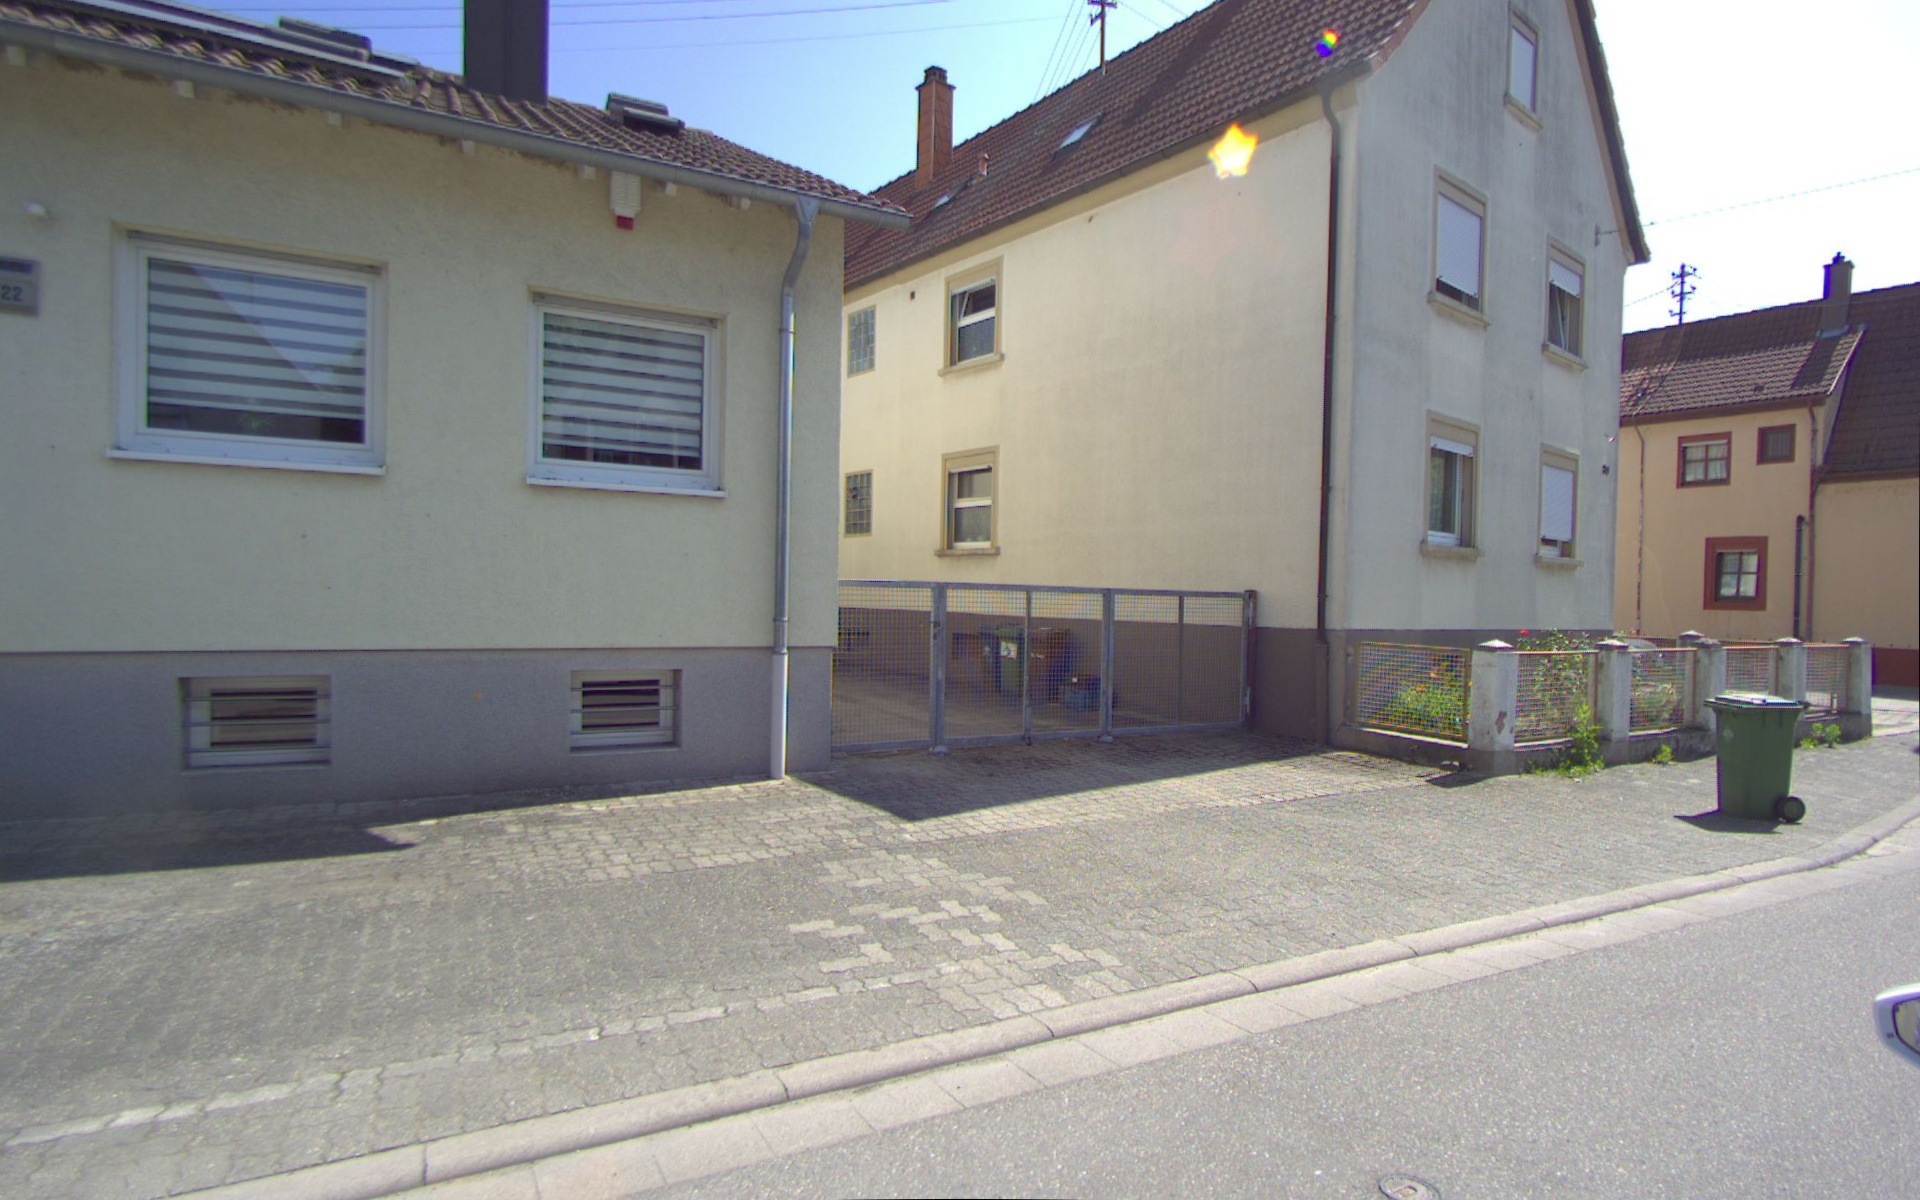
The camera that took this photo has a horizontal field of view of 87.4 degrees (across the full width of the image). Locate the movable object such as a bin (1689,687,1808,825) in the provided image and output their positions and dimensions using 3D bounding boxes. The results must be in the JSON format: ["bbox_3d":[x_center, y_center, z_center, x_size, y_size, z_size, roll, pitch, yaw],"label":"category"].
[{"bbox_3d":[6.180,1.200,7.881,0.547,0.962,0.536,1,1,-30],"label":"movable object such as a bin"}]

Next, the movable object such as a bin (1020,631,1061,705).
[{"bbox_3d":[1.037,0.867,12.945,0.369,0.928,0.348,1,2,-34],"label":"movable object such as a bin"}]

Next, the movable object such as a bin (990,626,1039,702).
[{"bbox_3d":[0.722,0.836,13.302,0.433,0.965,0.465,1,2,-37],"label":"movable object such as a bin"}]

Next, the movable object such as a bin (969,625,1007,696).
[{"bbox_3d":[0.378,0.823,13.719,0.369,0.933,0.348,1,2,-34],"label":"movable object such as a bin"}]
